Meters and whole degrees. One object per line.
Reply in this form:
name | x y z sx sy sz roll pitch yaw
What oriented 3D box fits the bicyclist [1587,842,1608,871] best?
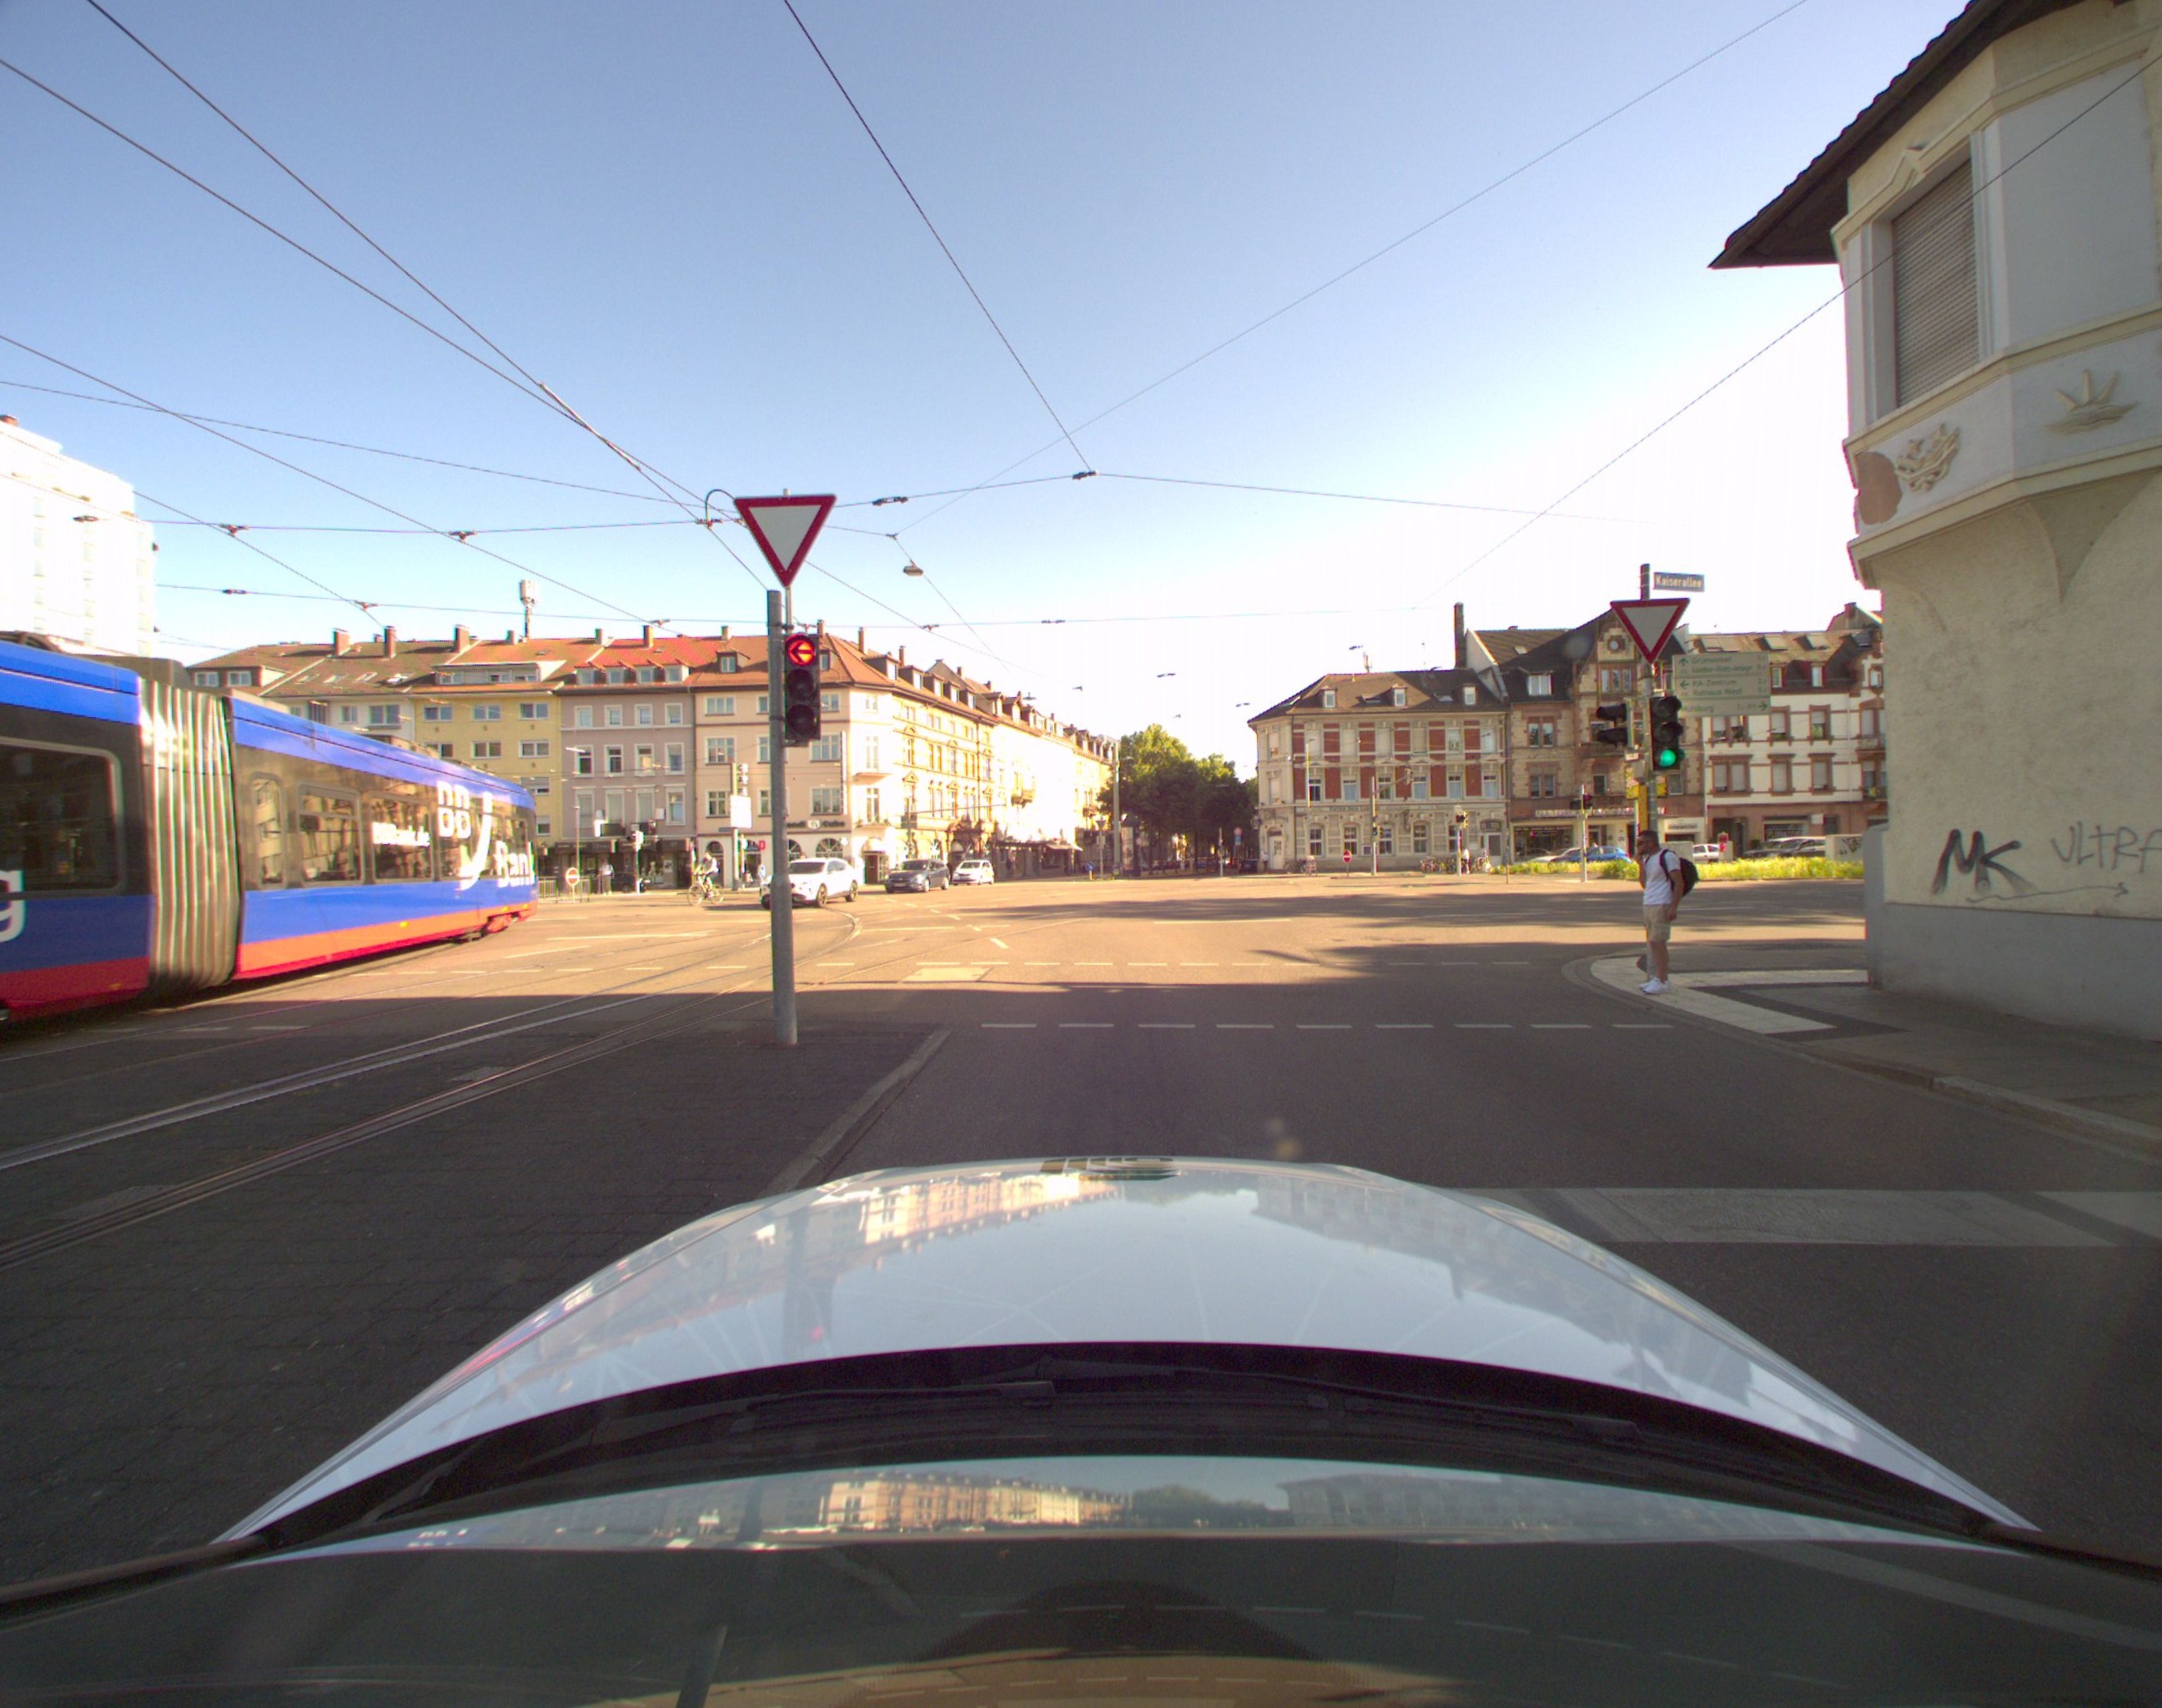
bicyclist | 32.160 0.168 50.712 0.901 1.764 0.601 -1 0 -3

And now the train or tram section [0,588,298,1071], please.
train or tram section | -9.144 -0.173 2.316 3.053 3.613 12.470 -1 0 -7

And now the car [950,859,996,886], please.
car | -6.300 1.062 47.879 1.708 1.497 3.591 -2 0 8

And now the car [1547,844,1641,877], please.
car | 28.316 0.337 45.032 3.973 1.668 1.955 -2 0 1

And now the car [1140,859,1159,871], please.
car | 9.902 1.586 117.306 1.978 1.497 4.051 -2 0 16

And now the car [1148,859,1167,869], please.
car | 11.516 1.502 122.507 1.978 1.497 4.051 -2 0 16

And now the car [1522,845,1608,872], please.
car | 28.508 0.259 48.025 3.973 1.412 1.846 -2 0 1

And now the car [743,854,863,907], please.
car | -8.641 0.779 25.778 1.984 1.497 4.353 -2 0 4

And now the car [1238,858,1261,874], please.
car | 17.013 1.149 82.169 1.978 1.497 4.051 -2 0 16

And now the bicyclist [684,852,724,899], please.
bicyclist | -12.760 0.727 27.577 0.709 1.559 0.991 -2 0 19

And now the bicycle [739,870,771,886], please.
bicycle | -22.926 1.696 57.276 1.940 1.067 0.582 -1 0 -6

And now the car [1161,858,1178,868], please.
car | 14.328 1.376 131.618 1.978 1.497 4.051 -2 0 16

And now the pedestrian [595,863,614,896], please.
pedestrian | -23.616 1.250 40.346 0.728 1.627 0.666 -1 0 -24

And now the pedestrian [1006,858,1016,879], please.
pedestrian | -6.634 1.368 76.799 0.676 1.908 0.636 -2 0 18

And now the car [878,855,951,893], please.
car | -7.191 0.819 35.650 1.764 1.497 4.581 -2 0 6

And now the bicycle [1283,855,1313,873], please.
bicycle | 15.186 0.687 56.963 1.950 1.191 0.547 -2 0 6

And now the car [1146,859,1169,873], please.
car | 9.174 1.431 97.296 1.978 1.497 4.051 -2 0 16

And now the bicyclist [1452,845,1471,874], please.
bicyclist | 23.604 0.334 50.509 0.869 1.764 0.602 -1 0 4

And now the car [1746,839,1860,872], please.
car | 39.558 0.066 44.705 4.456 1.668 1.955 -2 0 1

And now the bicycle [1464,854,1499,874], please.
bicycle | 25.743 0.638 52.311 1.961 1.191 0.677 -1 0 -10

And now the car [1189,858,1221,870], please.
car | 17.530 1.375 115.428 3.949 1.545 2.012 -2 0 30

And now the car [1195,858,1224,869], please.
car | 20.199 1.447 128.012 3.949 1.545 2.012 -2 0 30

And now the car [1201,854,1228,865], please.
car | 21.974 0.917 134.070 3.949 1.545 2.012 -2 0 30

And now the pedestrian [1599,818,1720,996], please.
pedestrian | 6.044 0.537 8.525 0.691 1.740 0.668 -4 -1 -28

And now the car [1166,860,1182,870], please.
car | 15.557 1.883 136.350 1.978 1.497 4.051 -2 0 16

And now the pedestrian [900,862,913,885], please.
pedestrian | -12.350 1.376 57.669 0.626 1.642 0.554 -2 0 15

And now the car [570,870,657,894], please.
car | -30.703 1.838 53.532 4.626 1.440 1.743 -1 -1 -1

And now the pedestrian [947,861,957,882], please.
pedestrian | -10.377 1.409 65.374 0.546 1.642 0.540 -2 0 21

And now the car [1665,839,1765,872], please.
car | 34.804 0.090 44.767 3.973 1.668 1.955 -2 0 1

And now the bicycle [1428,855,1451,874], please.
bicycle | 23.197 0.656 52.778 0.674 1.191 1.969 -1 0 3

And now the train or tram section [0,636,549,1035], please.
train or tram section | -11.842 -0.109 13.037 3.067 3.613 12.027 -1 0 -21

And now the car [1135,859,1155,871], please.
car | 8.931 1.557 112.840 1.978 1.497 4.051 -2 0 16

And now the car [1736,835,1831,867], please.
car | 45.234 -0.192 52.500 4.388 1.965 1.955 -2 0 1

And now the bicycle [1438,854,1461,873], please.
bicycle | 23.846 0.623 52.763 0.674 1.191 1.969 -1 0 3

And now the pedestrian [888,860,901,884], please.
pedestrian | -12.861 1.234 56.203 0.670 1.642 0.581 -2 0 15

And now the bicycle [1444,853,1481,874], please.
bicycle | 23.639 0.584 50.510 1.952 1.191 0.602 -2 0 4

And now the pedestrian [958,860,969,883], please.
pedestrian | -9.591 1.396 66.497 0.575 1.836 0.636 -2 0 18

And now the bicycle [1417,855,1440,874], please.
bicycle | 22.495 0.646 52.769 0.674 1.191 1.969 -1 0 3

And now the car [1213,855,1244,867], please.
car | 21.014 1.006 116.073 3.948 1.545 2.013 -2 0 32

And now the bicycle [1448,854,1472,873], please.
bicycle | 24.519 0.614 52.739 0.674 1.191 1.969 -1 0 3

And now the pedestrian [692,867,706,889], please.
pedestrian | -26.386 1.664 56.245 0.657 1.524 0.694 -1 0 -6

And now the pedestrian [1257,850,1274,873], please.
pedestrian | 13.200 0.546 58.274 0.722 1.669 0.928 -1 -1 -43

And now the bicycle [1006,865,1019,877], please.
bicycle | -6.710 1.679 79.871 0.491 1.067 1.778 -2 0 18

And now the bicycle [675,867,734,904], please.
bicycle | -12.736 1.038 27.633 0.481 1.166 2.066 -2 0 19

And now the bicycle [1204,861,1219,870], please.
bicycle | 15.871 1.360 99.041 0.586 1.067 1.928 -1 0 -34

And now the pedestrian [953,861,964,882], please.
pedestrian | -9.795 1.401 65.217 0.546 1.642 0.636 -2 0 22
